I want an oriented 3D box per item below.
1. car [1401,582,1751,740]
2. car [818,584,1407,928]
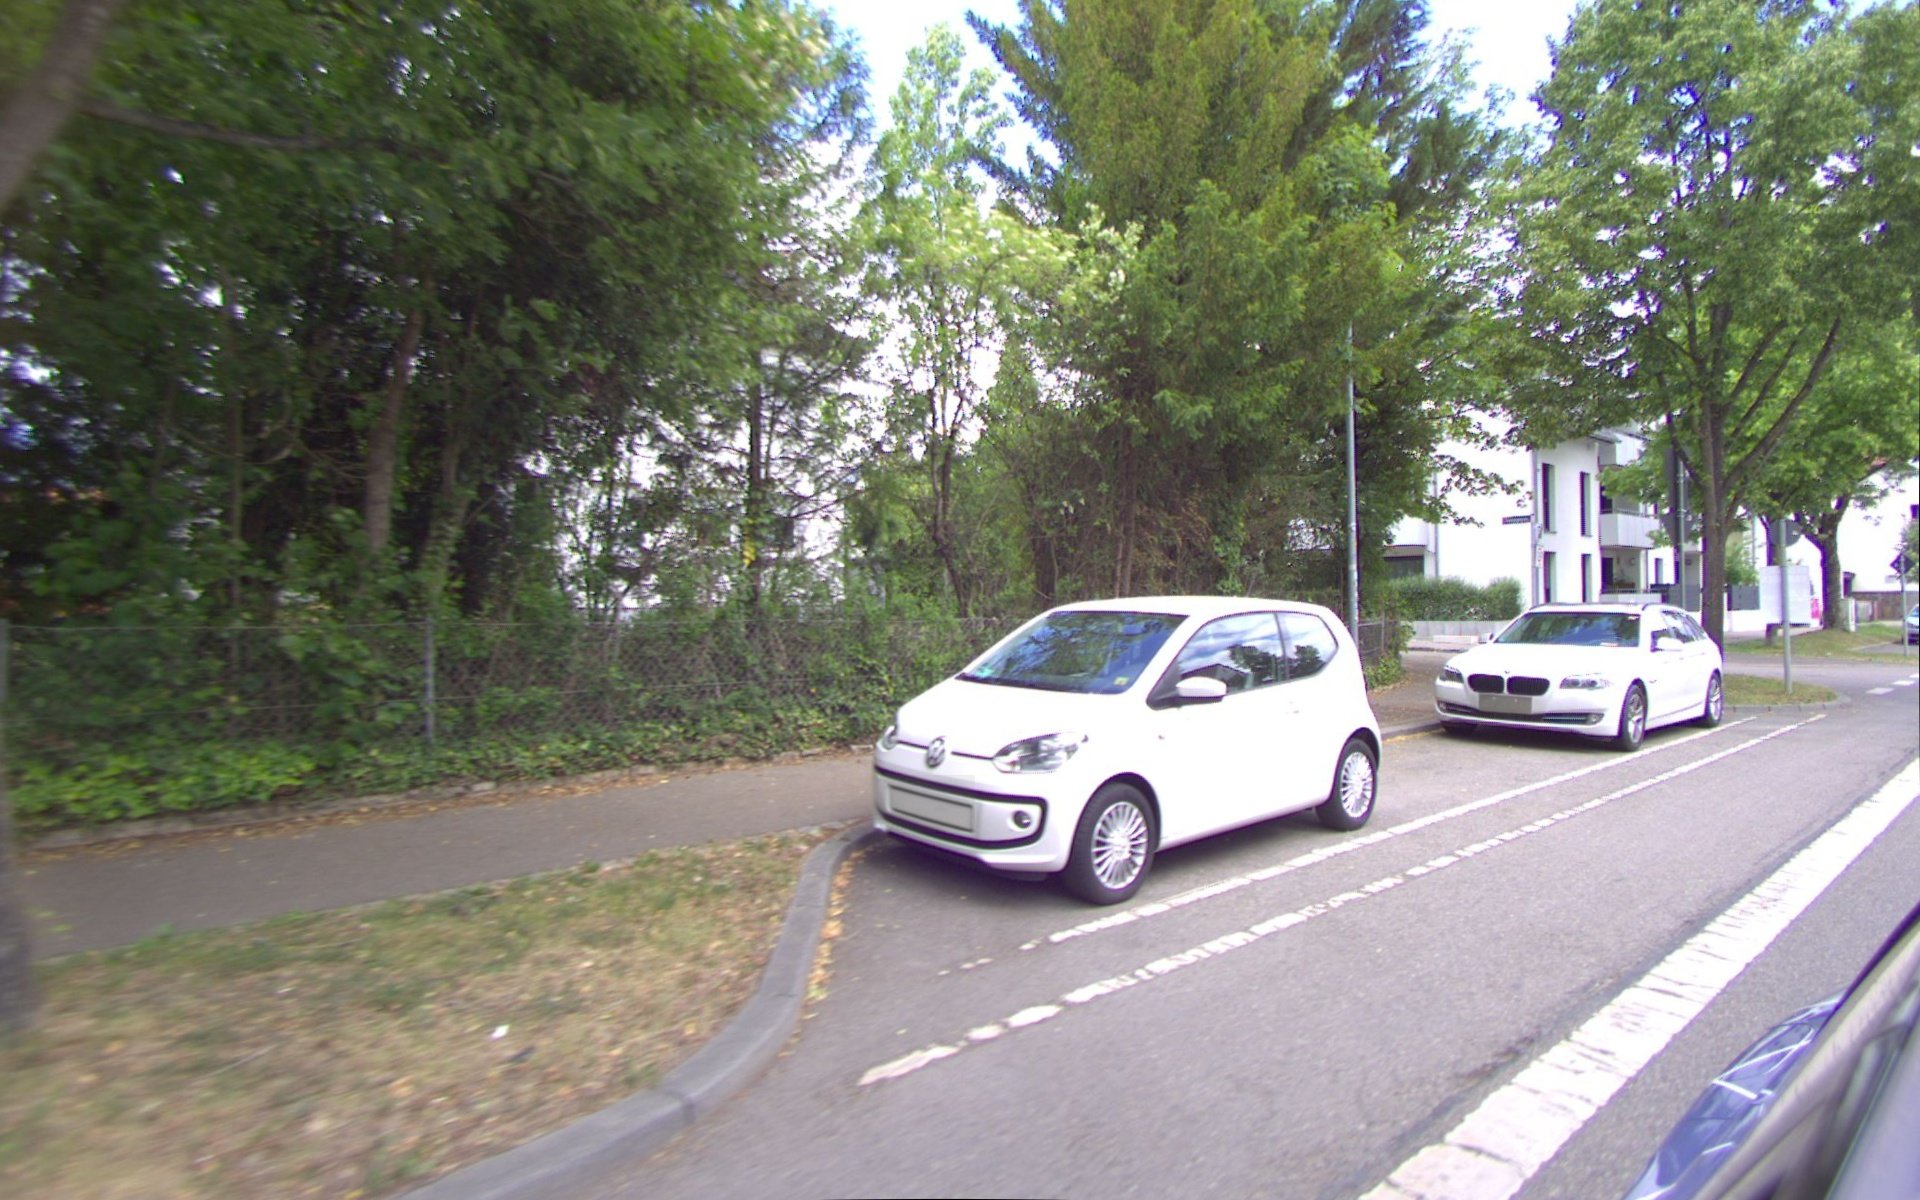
[{"bbox_3d":[7.270,0.559,11.705,4.936,1.462,2.024,0,0,-40],"label":"car"},{"bbox_3d":[1.093,0.660,6.159,3.593,1.478,1.618,0,1,-41],"label":"car"}]
